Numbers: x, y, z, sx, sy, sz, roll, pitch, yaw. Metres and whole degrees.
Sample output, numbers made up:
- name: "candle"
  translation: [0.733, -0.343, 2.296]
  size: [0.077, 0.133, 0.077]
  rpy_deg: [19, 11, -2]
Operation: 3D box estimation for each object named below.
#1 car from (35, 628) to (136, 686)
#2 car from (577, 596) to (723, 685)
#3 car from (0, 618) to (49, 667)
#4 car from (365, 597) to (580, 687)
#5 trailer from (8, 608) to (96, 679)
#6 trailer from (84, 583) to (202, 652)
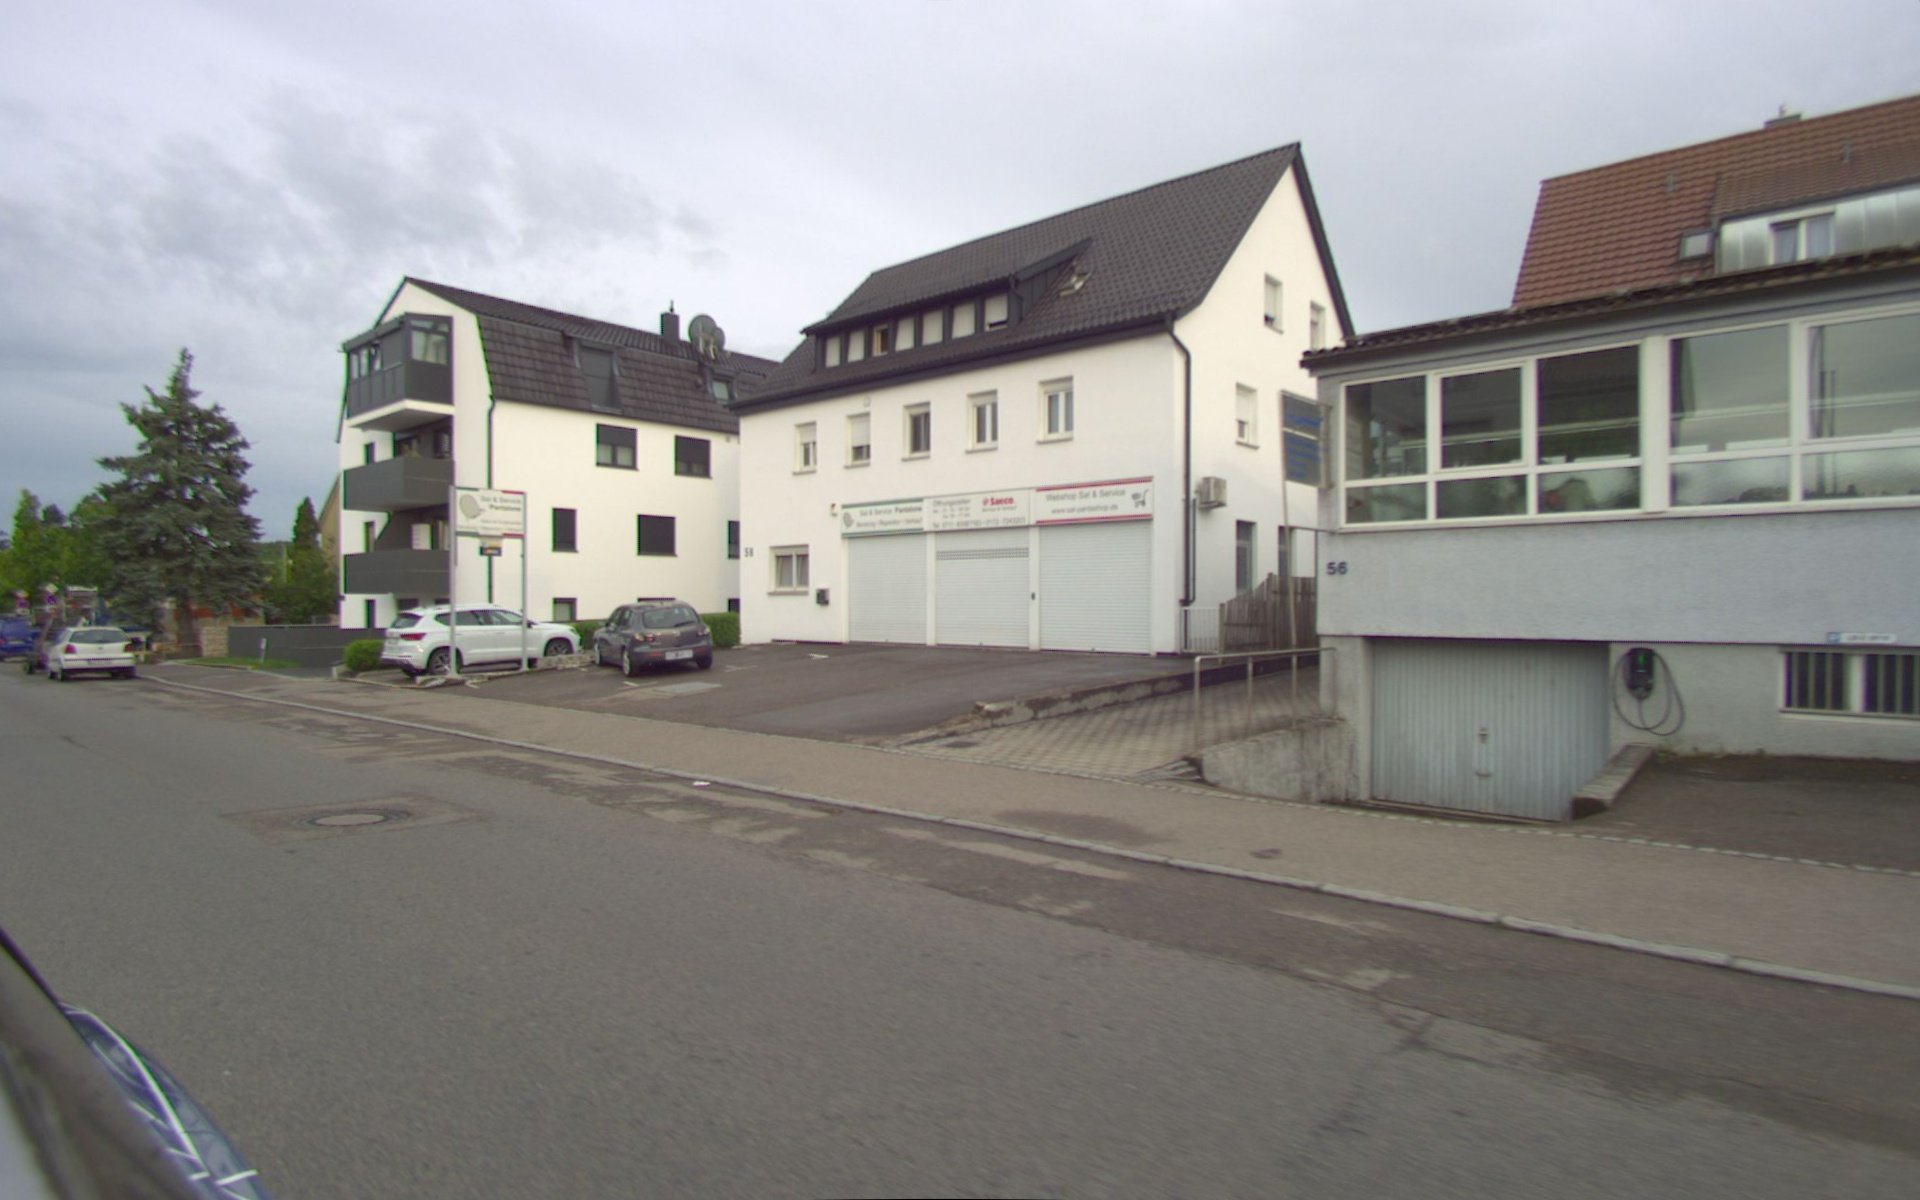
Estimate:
- name: "car"
  translation: [-24.876, 1.568, 28.745]
  size: [3.870, 1.516, 1.717]
  rpy_deg: [-2, -2, 42]
- name: "car"
  translation: [-6.684, 0.776, 21.532]
  size: [1.795, 1.541, 4.011]
  rpy_deg: [-6, 4, -33]
- name: "car"
  translation: [-42.796, 1.902, 45.755]
  size: [4.754, 2.140, 1.972]
  rpy_deg: [-2, -2, 43]
- name: "car"
  translation: [-11.234, 0.909, 23.510]
  size: [1.998, 1.659, 3.948]
  rpy_deg: [-2, 2, 40]
- name: "trailer"
  translation: [-29.546, 1.367, 32.892]
  size: [4.006, 2.142, 1.699]
  rpy_deg: [-1, 0, 42]
- name: "trailer"
  translation: [-38.038, 0.760, 47.174]
  size: [2.168, 3.069, 4.005]
  rpy_deg: [-1, 0, 43]
